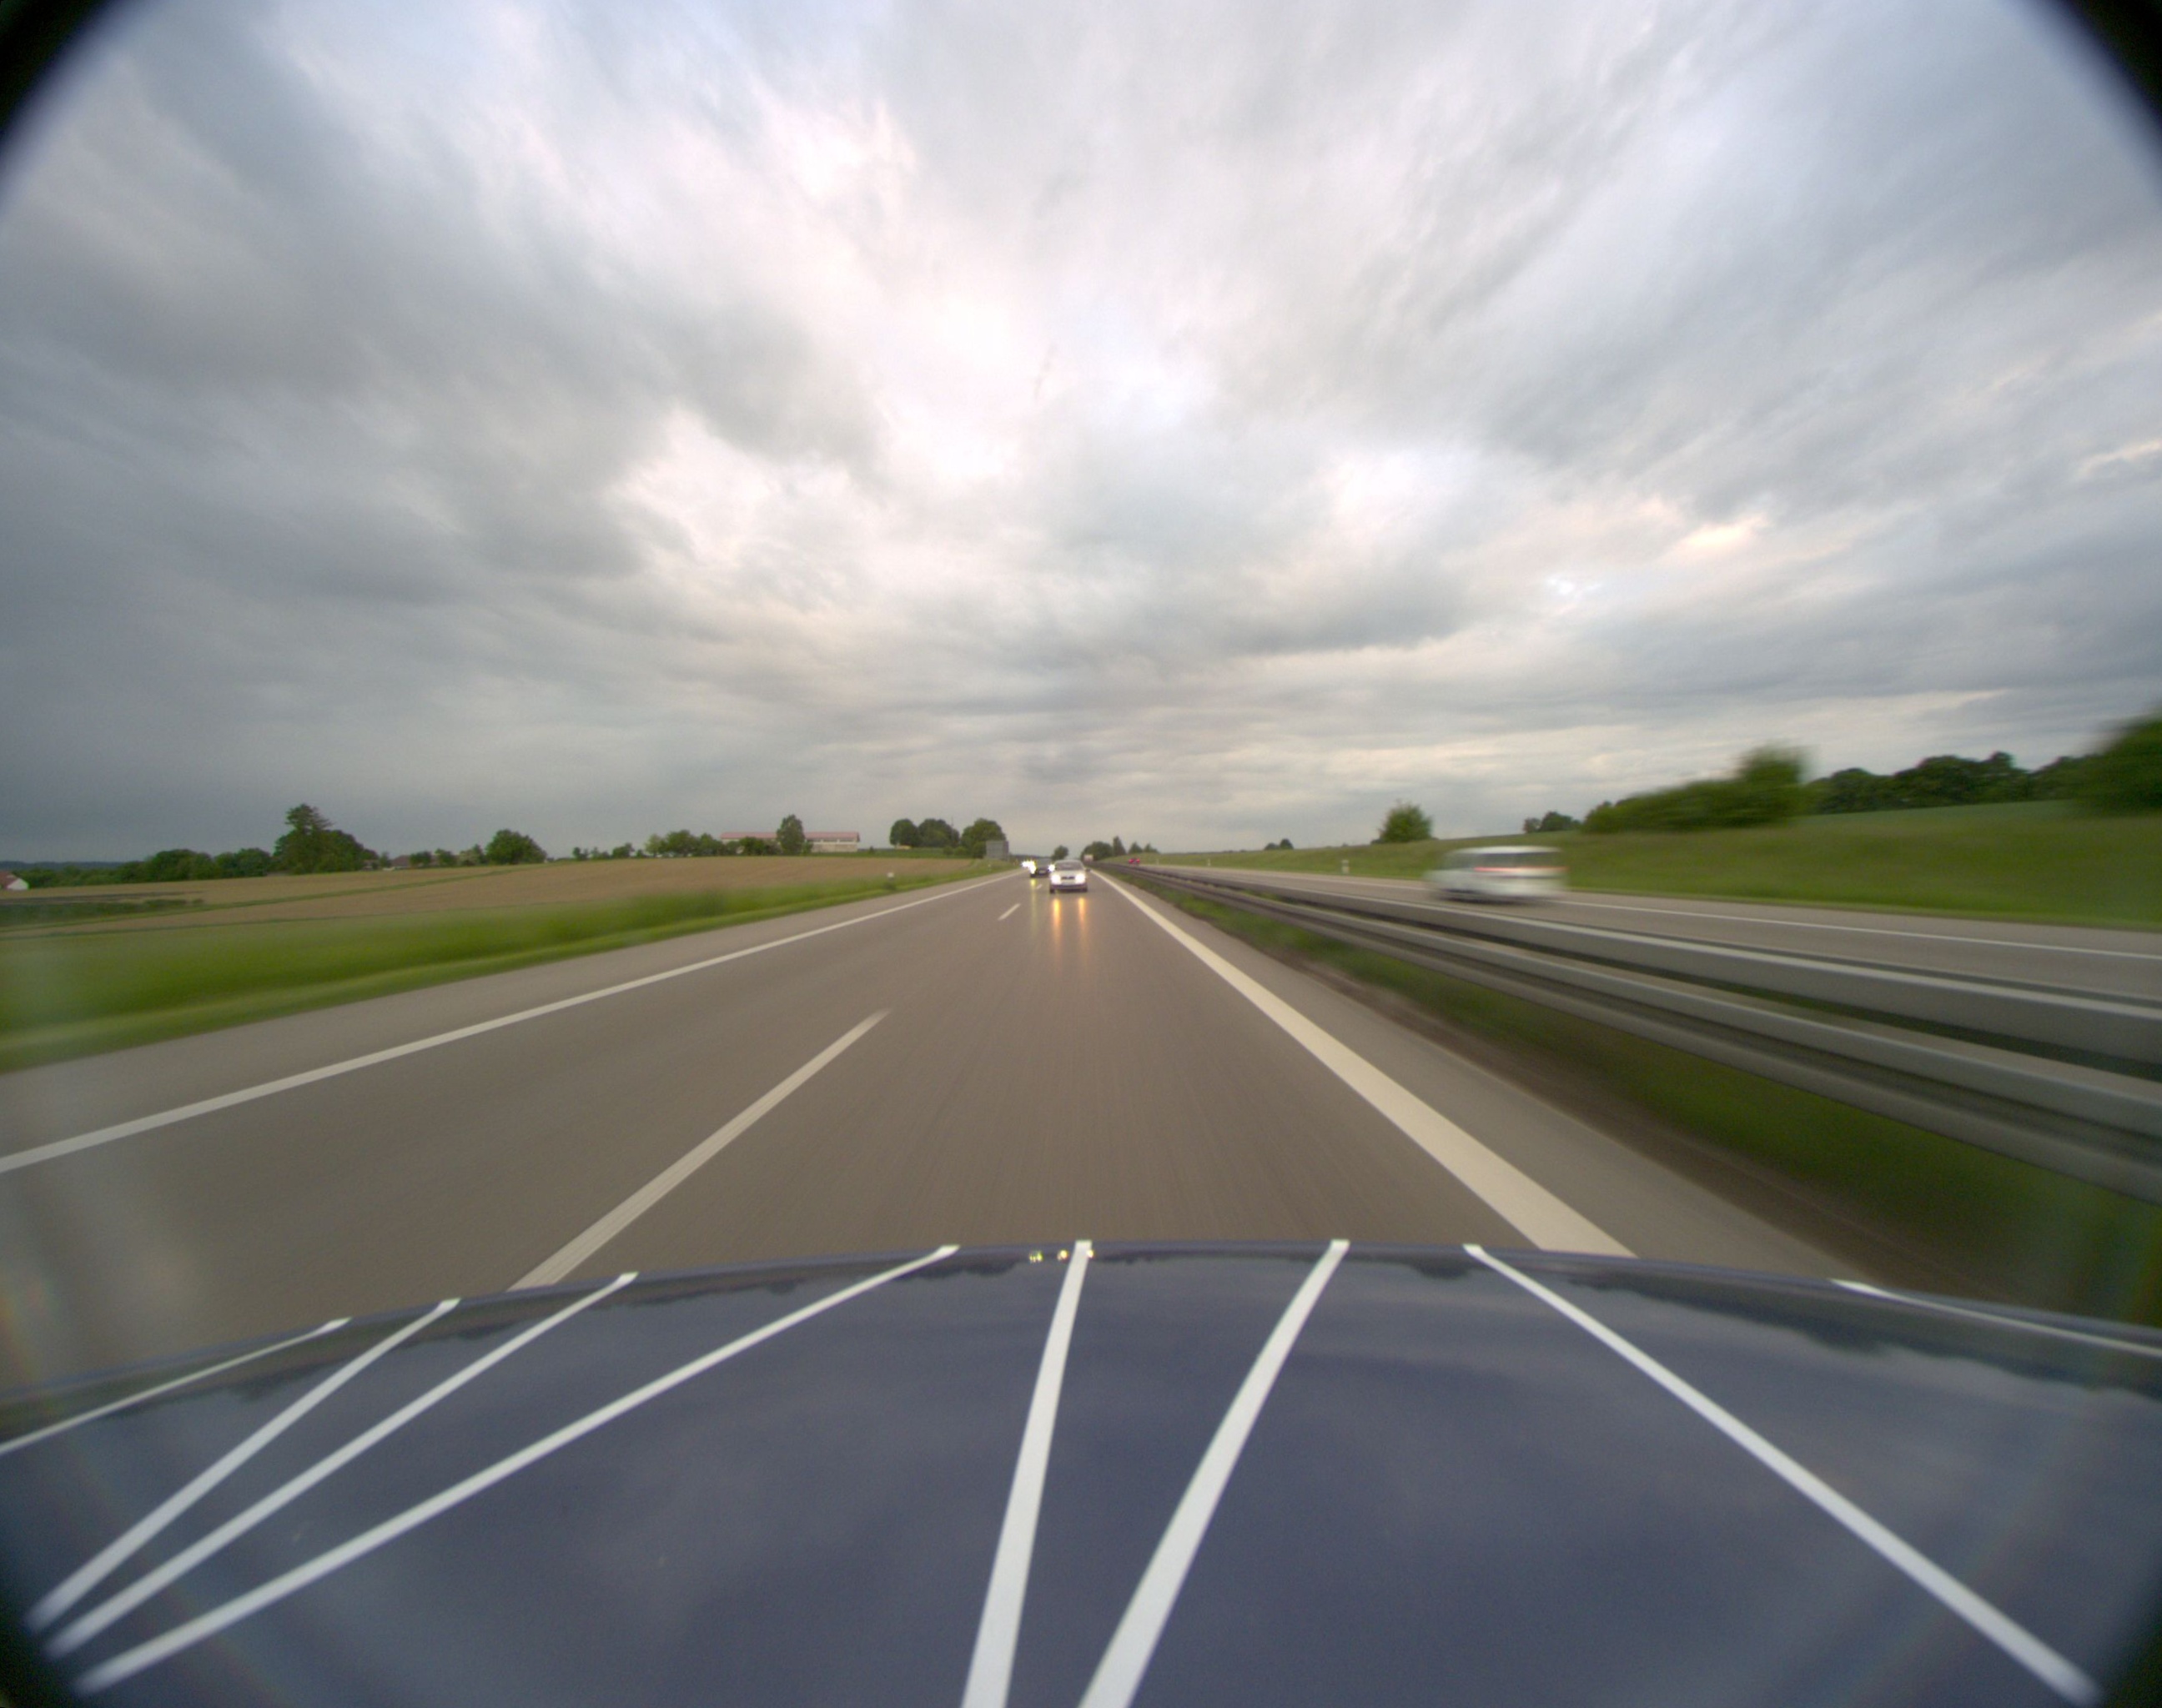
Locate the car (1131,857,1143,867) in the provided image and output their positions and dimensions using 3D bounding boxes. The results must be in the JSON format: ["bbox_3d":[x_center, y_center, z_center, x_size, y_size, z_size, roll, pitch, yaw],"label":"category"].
[{"bbox_3d":[10.432,1.514,142.526,1.702,1.654,4.462,-3,0,-3],"label":"car"}]

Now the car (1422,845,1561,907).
[{"bbox_3d":[12.999,0.623,24.471,1.765,1.791,4.994,0,0,0],"label":"car"}]

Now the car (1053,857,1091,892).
[{"bbox_3d":[-0.375,0.871,34.165,1.592,1.381,4.601,0,1,0],"label":"car"}]

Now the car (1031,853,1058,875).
[{"bbox_3d":[-2.878,0.784,60.426,1.951,1.620,4.535,-1,1,0],"label":"car"}]
